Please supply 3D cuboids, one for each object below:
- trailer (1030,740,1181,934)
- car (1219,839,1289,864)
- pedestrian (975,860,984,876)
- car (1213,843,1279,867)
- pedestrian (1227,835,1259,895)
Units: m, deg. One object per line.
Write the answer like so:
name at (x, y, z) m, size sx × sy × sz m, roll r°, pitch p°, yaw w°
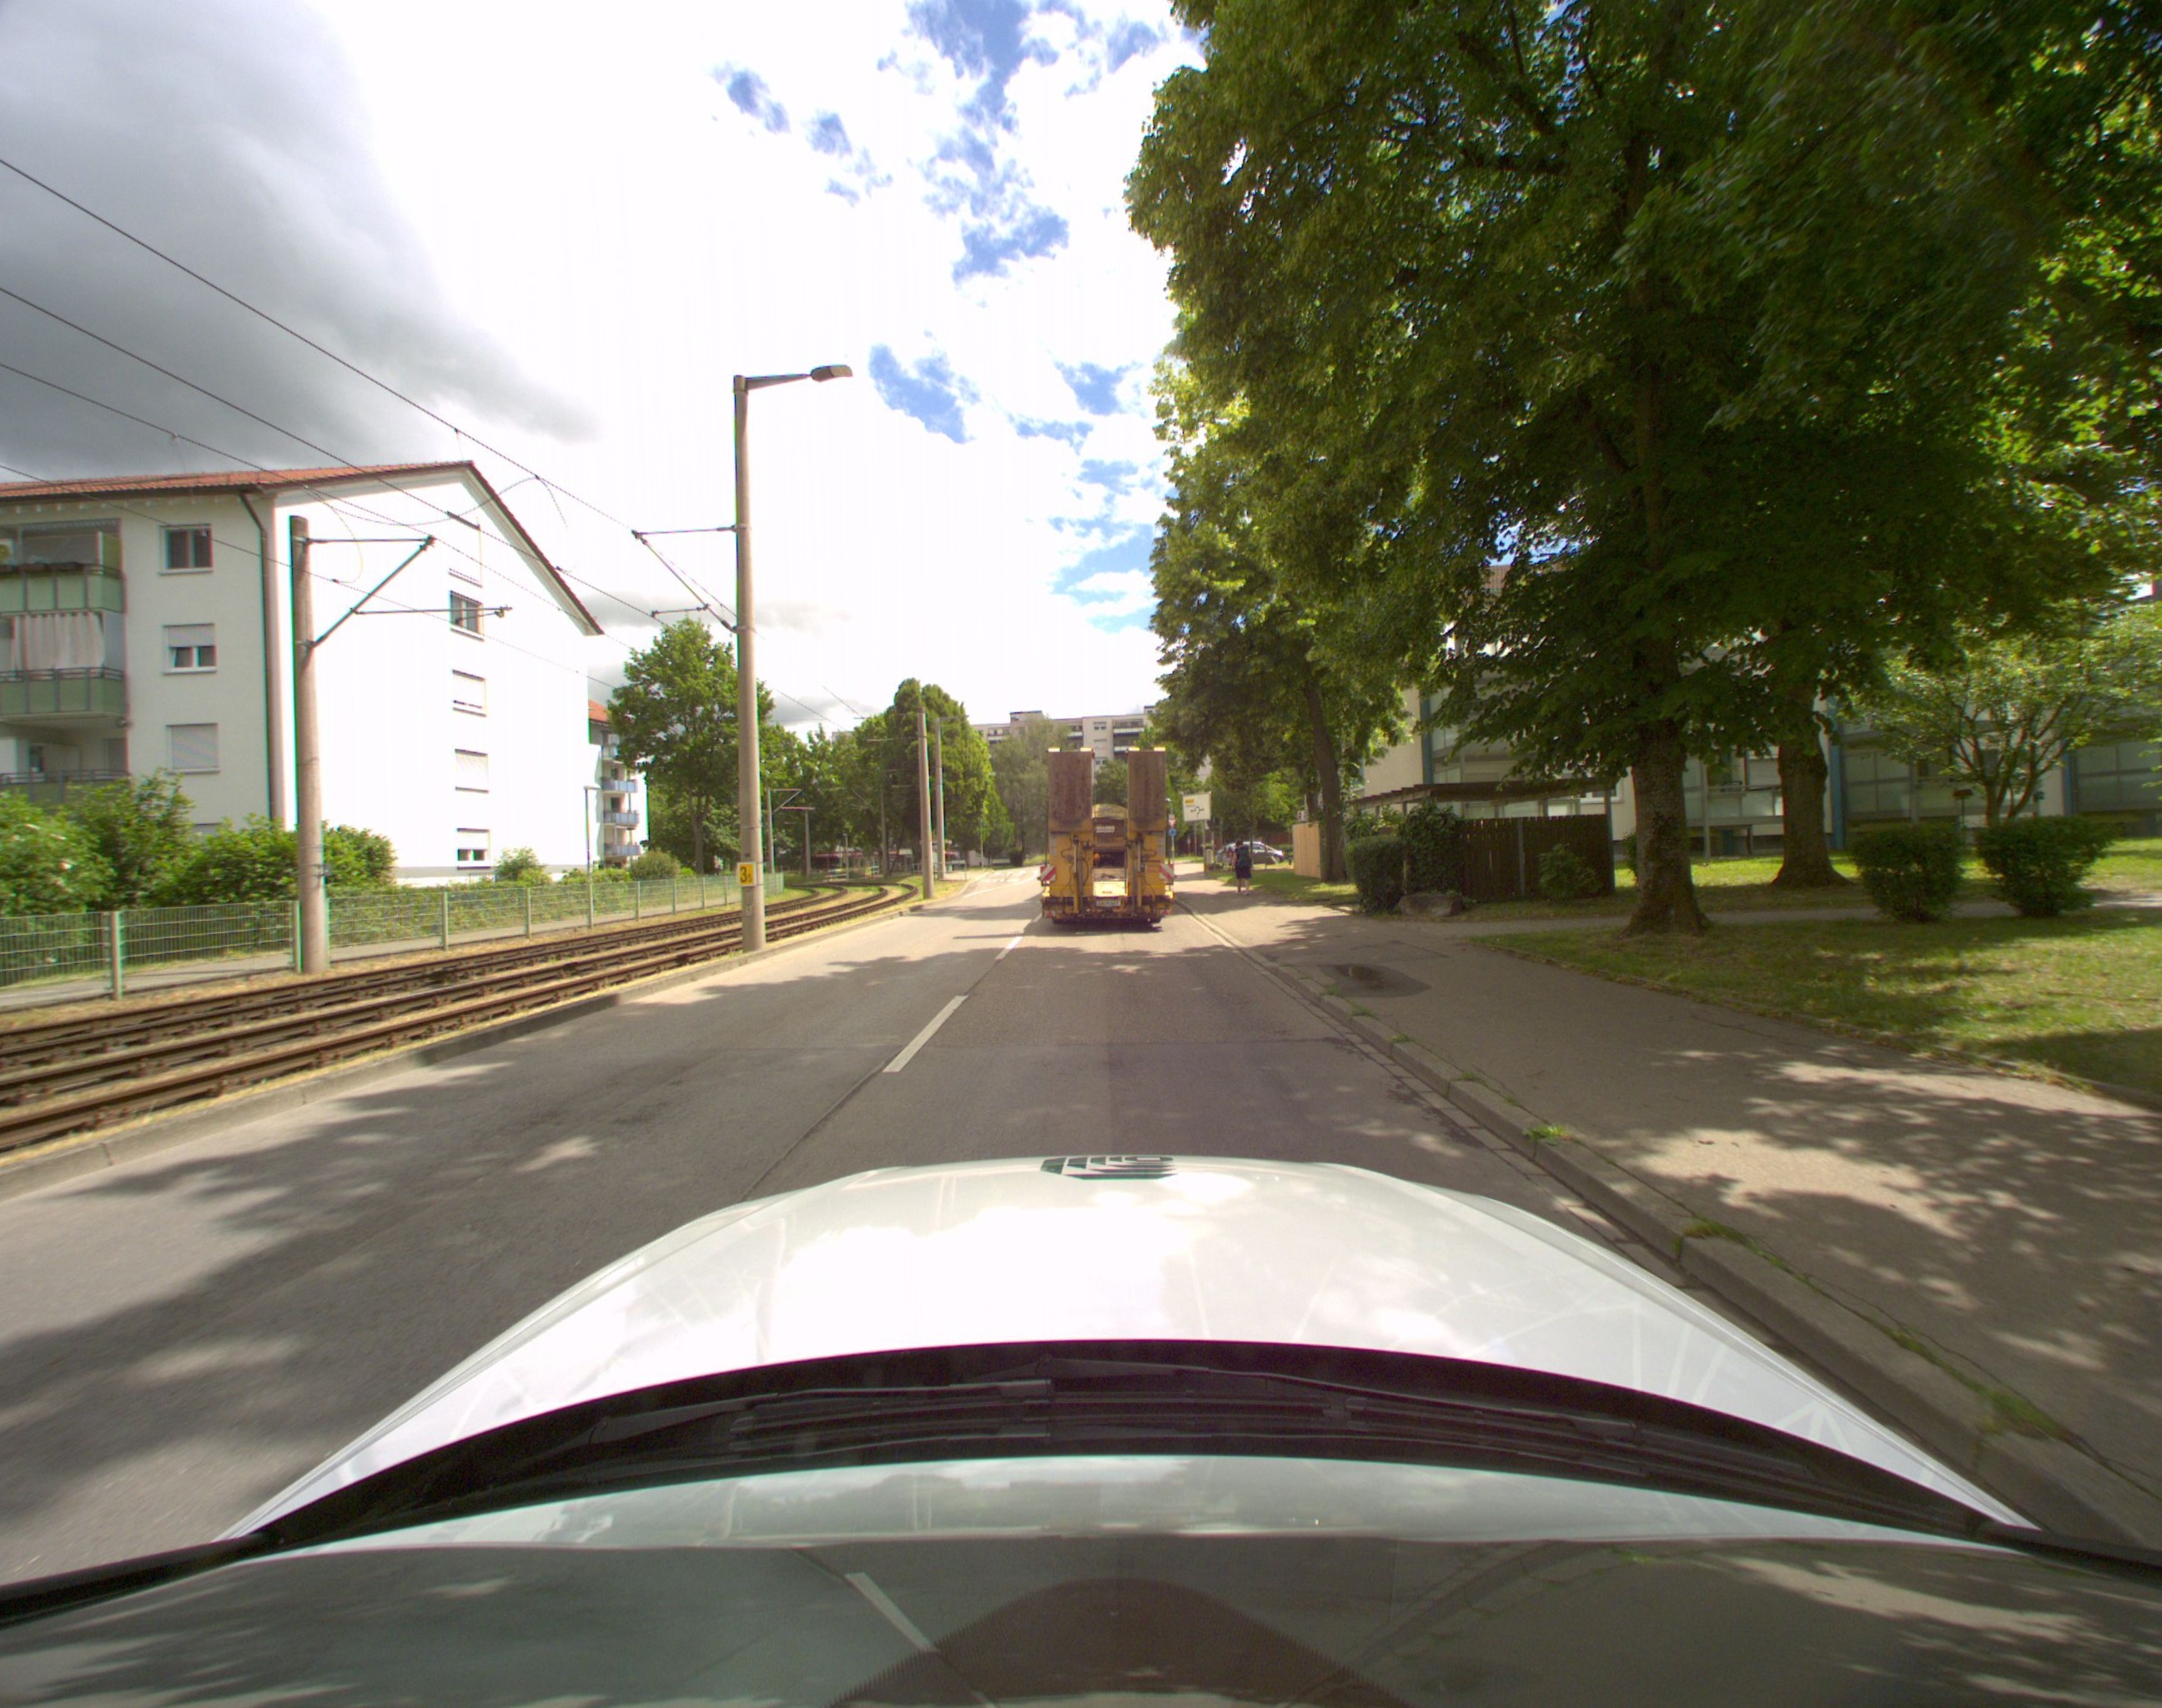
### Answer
trailer at (0.401, -0.349, 21.583) m, size 2.819 × 3.646 × 12.349 m, roll -1°, pitch 0°, yaw -1°
car at (10.952, -0.167, 51.567) m, size 3.988 × 1.561 × 1.753 m, roll -1°, pitch 0°, yaw -11°
pedestrian at (-13.009, 1.734, 104.500) m, size 0.913 × 2.013 × 0.953 m, roll -1°, pitch 0°, yaw -29°
car at (11.127, 0.077, 55.048) m, size 3.988 × 1.561 × 1.753 m, roll -1°, pitch 0°, yaw -11°
pedestrian at (4.806, 0.316, 24.188) m, size 0.715 × 1.706 × 0.766 m, roll -3°, pitch 0°, yaw 1°
